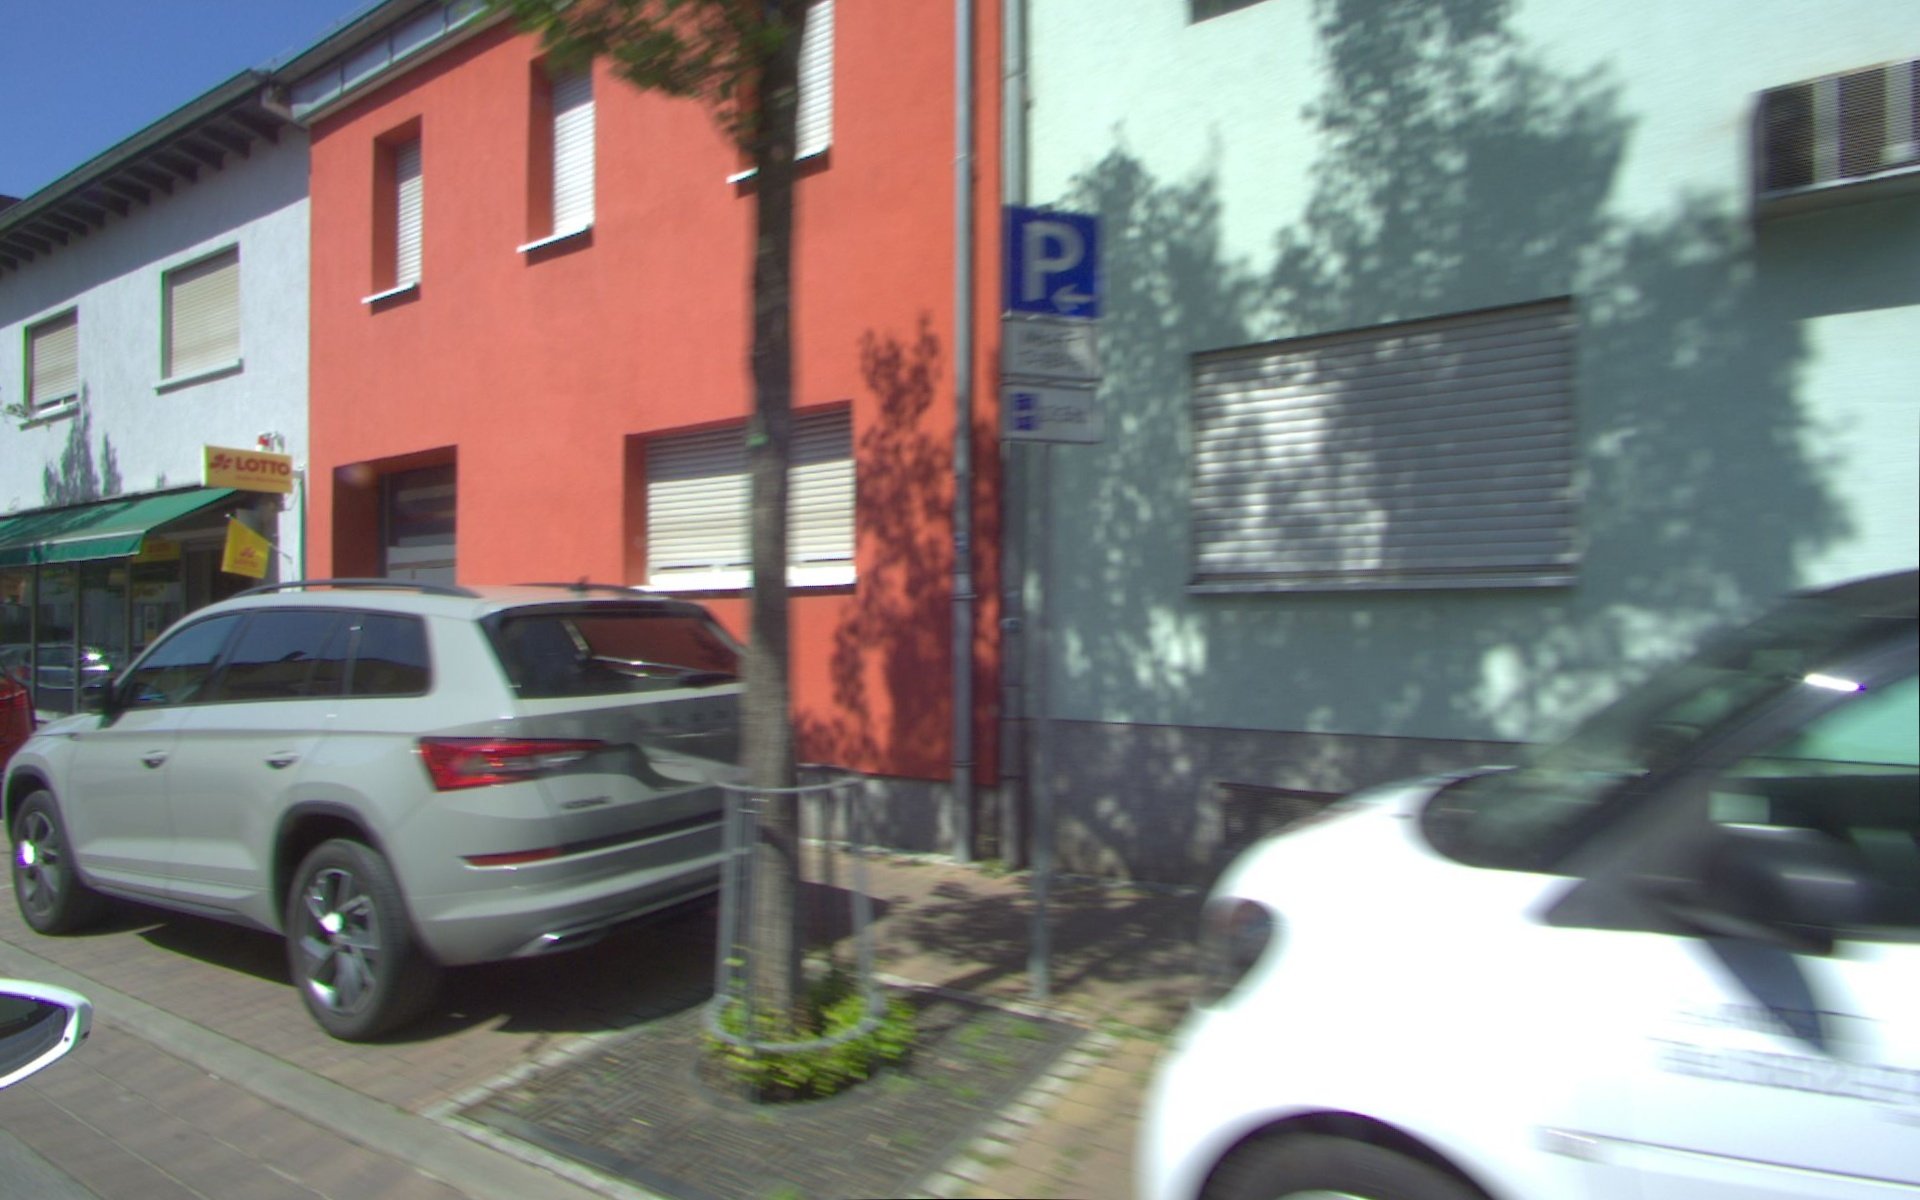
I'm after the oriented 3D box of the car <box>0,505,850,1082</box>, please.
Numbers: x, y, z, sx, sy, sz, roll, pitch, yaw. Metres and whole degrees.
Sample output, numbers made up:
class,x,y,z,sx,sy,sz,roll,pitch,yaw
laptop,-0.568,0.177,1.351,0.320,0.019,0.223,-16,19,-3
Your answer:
class,x,y,z,sx,sy,sz,roll,pitch,yaw
car,-2.948,0.649,4.941,4.592,1.705,1.865,-1,-2,30

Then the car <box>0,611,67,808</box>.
class,x,y,z,sx,sy,sz,roll,pitch,yaw
car,-9.843,0.919,8.751,4.026,1.608,1.828,-1,-2,29

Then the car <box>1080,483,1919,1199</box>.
class,x,y,z,sx,sy,sz,roll,pitch,yaw
car,2.335,0.647,1.559,3.940,1.563,1.708,-1,-2,31
